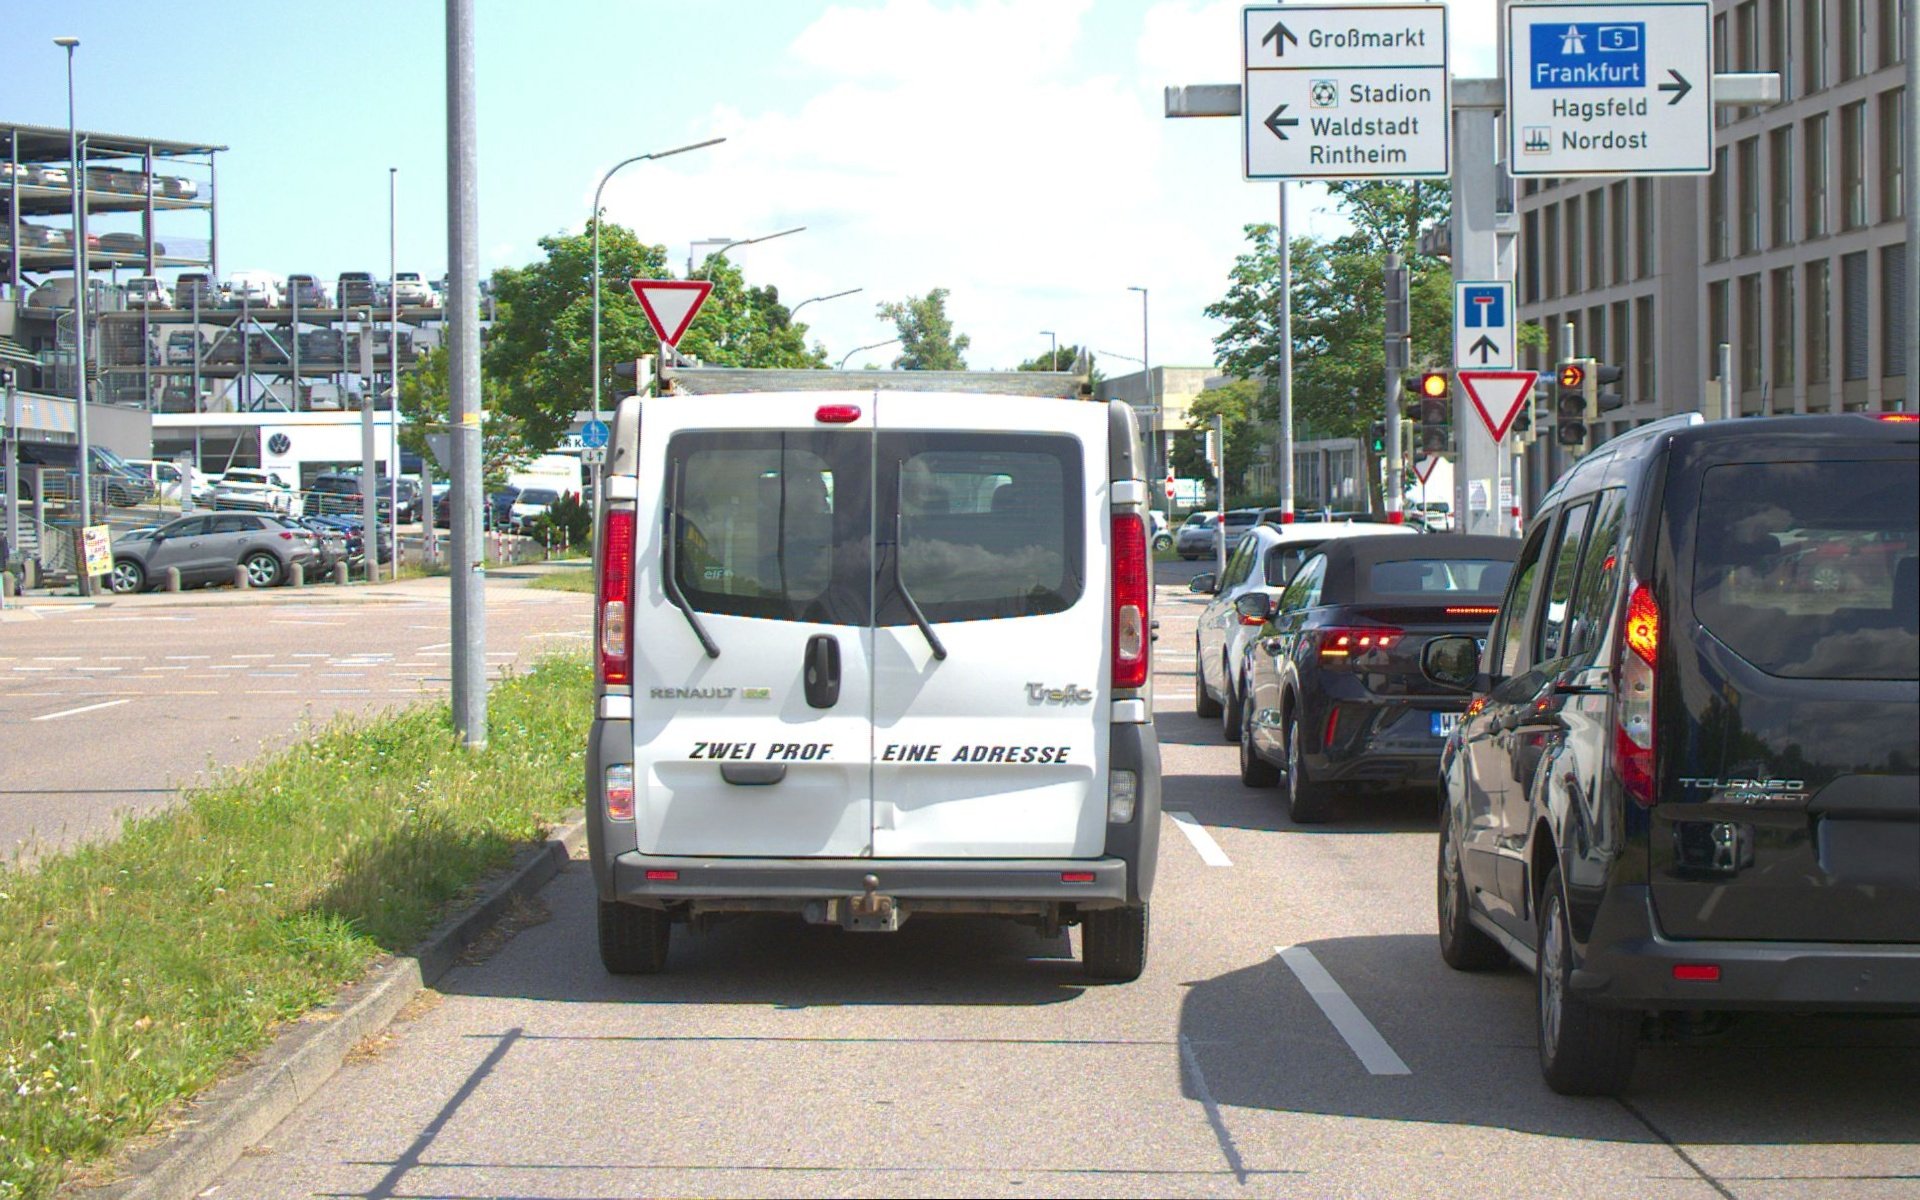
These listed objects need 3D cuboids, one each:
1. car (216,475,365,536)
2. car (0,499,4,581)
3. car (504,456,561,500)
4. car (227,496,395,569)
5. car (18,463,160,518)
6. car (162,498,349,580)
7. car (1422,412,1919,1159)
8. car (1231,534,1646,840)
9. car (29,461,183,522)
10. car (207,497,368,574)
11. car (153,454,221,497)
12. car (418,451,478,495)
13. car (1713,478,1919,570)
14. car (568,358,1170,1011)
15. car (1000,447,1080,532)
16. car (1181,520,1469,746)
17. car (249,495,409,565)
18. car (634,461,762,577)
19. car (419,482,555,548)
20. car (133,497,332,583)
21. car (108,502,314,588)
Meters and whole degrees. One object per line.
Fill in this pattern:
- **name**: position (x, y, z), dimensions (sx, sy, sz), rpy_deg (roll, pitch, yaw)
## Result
- **car**: position (-19.771, -2.800, 101.642), dimensions (4.164, 1.707, 1.689), rpy_deg (1, 2, -6)
- **car**: position (-19.354, -1.173, 65.989), dimensions (1.816, 1.546, 4.001), rpy_deg (0, 1, -17)
- **car**: position (-15.314, -4.383, 123.268), dimensions (1.846, 1.524, 4.001), rpy_deg (0, 2, -5)
- **car**: position (-16.318, -1.709, 86.558), dimensions (3.912, 1.707, 1.689), rpy_deg (-2, 2, -4)
- **car**: position (-27.830, -3.501, 109.932), dimensions (4.164, 1.707, 1.689), rpy_deg (0, 1, -6)
- **car**: position (-15.962, -1.395, 77.989), dimensions (3.912, 1.707, 1.689), rpy_deg (-2, 2, -4)
- **car**: position (2.500, 0.411, 10.333), dimensions (1.820, 1.802, 4.000), rpy_deg (1, 1, 3)
- **car**: position (2.525, 0.398, 19.021), dimensions (1.740, 1.490, 4.000), rpy_deg (1, 1, 0)
- **car**: position (-24.863, -3.146, 100.187), dimensions (4.164, 1.707, 1.689), rpy_deg (0, 1, -6)
- **car**: position (-15.930, -1.532, 81.568), dimensions (3.507, 1.707, 1.604), rpy_deg (-2, 2, -4)
- **car**: position (-27.947, -4.502, 124.385), dimensions (1.846, 1.524, 4.001), rpy_deg (0, 2, -5)
- **car**: position (-18.303, -4.556, 123.047), dimensions (1.846, 1.524, 4.001), rpy_deg (0, 2, -5)
- **car**: position (16.275, -1.369, 61.780), dimensions (4.982, 1.602, 2.000), rpy_deg (0, 2, -3)
- **car**: position (-0.230, 0.223, 12.720), dimensions (1.856, 2.011, 4.000), rpy_deg (1, 1, 2)
- **car**: position (2.161, -3.052, 94.472), dimensions (1.993, 2.247, 5.515), rpy_deg (0, 2, -1)
- **car**: position (2.654, 0.198, 25.804), dimensions (1.740, 1.538, 4.000), rpy_deg (1, 1, 0)
- **car**: position (-16.479, -1.834, 89.927), dimensions (3.912, 1.707, 1.689), rpy_deg (-2, 2, -4)
- **car**: position (-5.359, -1.704, 70.829), dimensions (1.971, 2.248, 4.980), rpy_deg (-1, 2, 3)
- **car**: position (-14.076, -2.541, 102.451), dimensions (3.986, 1.919, 1.827), rpy_deg (0, 1, -6)
- **car**: position (-15.509, -1.296, 73.403), dimensions (3.912, 1.707, 1.689), rpy_deg (-2, 2, -4)
- **car**: position (-15.428, -1.157, 70.955), dimensions (3.861, 1.634, 1.858), rpy_deg (-2, 2, -4)
